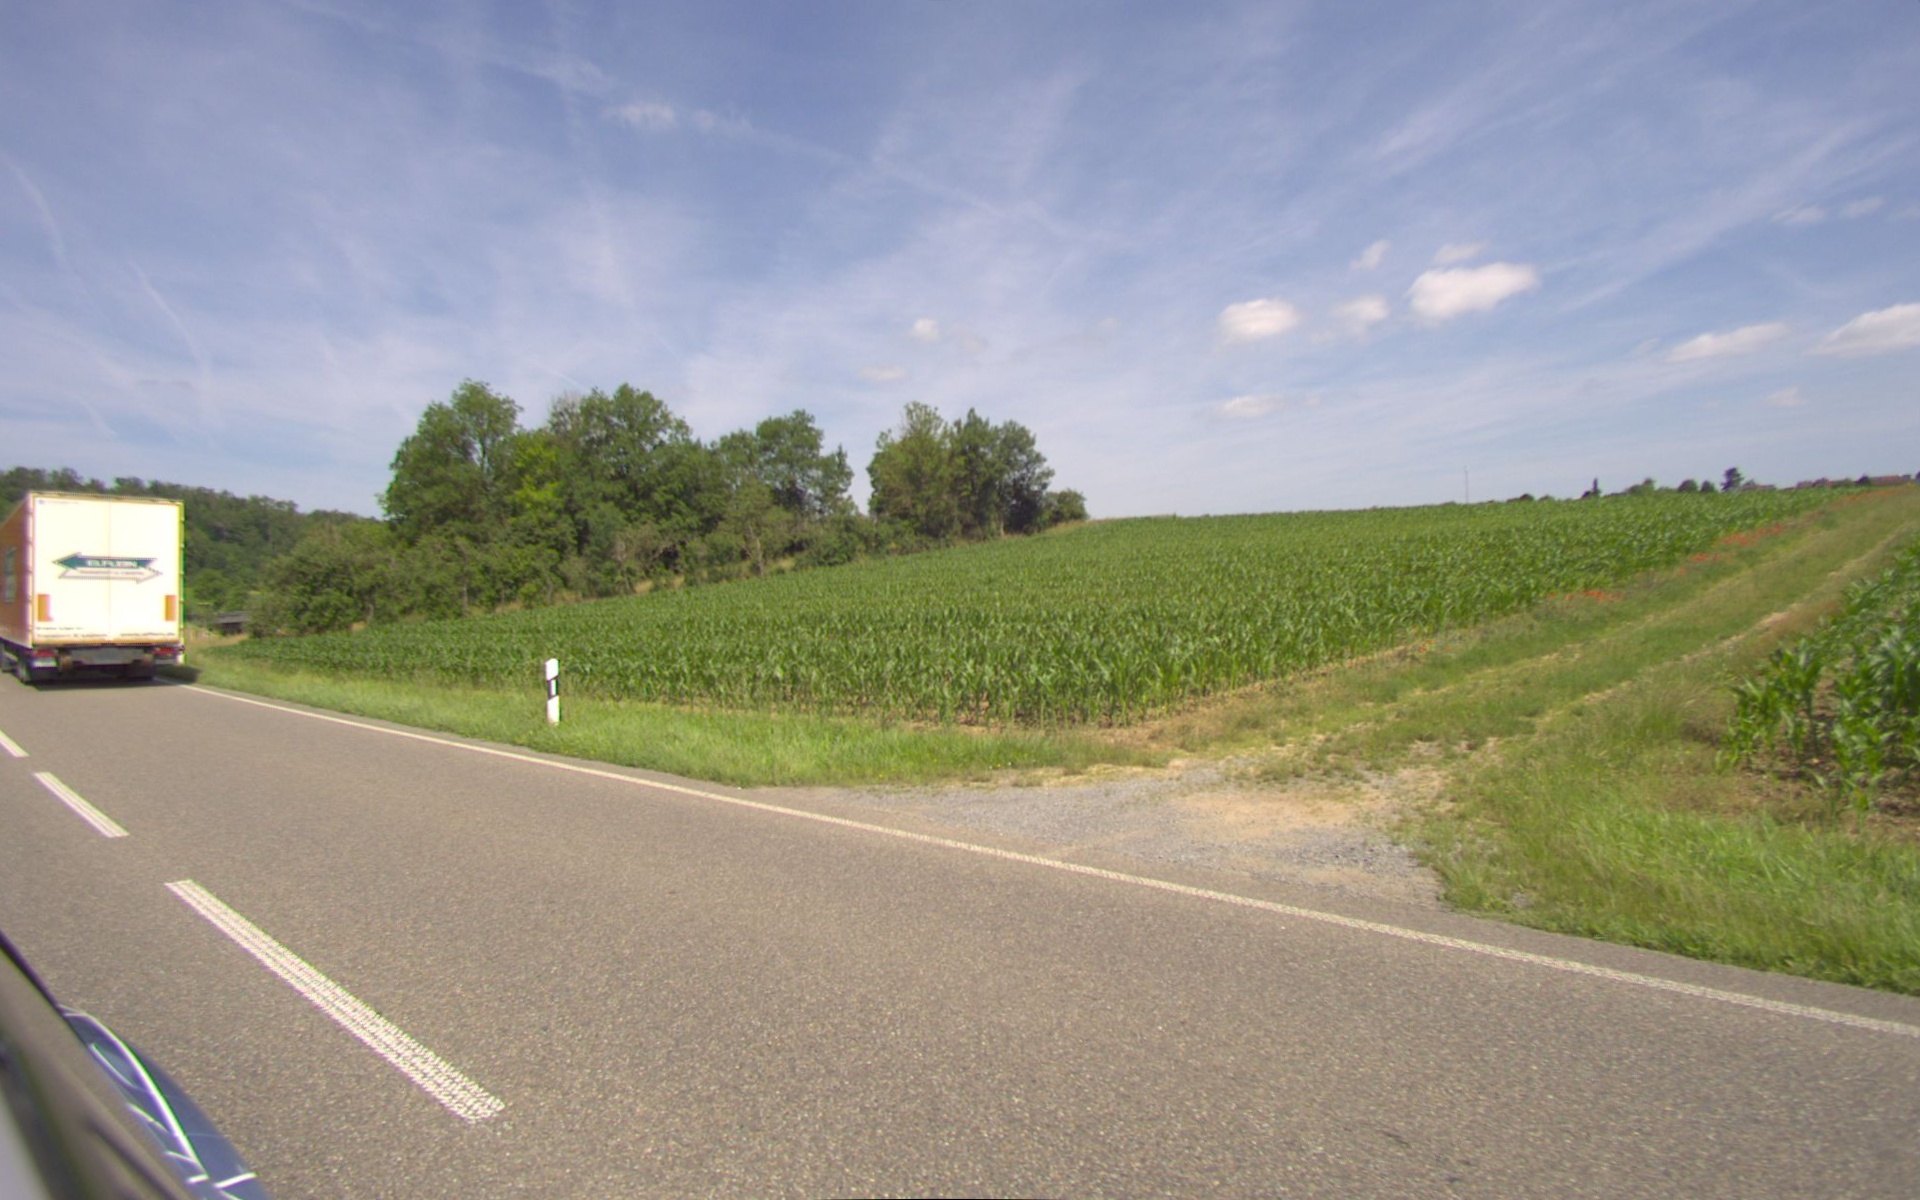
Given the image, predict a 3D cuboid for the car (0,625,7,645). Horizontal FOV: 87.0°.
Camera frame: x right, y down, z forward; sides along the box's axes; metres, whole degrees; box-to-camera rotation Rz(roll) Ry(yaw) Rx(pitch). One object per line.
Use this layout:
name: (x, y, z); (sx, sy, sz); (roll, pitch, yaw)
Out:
car: (-71.430, 2.573, 74.261); (1.716, 1.465, 4.045); (0, -1, -37)

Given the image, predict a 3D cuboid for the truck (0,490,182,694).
truck: (-23.768, -0.011, 27.013); (2.739, 4.029, 17.038); (0, -1, -44)

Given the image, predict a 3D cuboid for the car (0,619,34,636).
car: (-85.209, 2.488, 91.403); (1.715, 1.465, 4.046); (0, -1, -34)
